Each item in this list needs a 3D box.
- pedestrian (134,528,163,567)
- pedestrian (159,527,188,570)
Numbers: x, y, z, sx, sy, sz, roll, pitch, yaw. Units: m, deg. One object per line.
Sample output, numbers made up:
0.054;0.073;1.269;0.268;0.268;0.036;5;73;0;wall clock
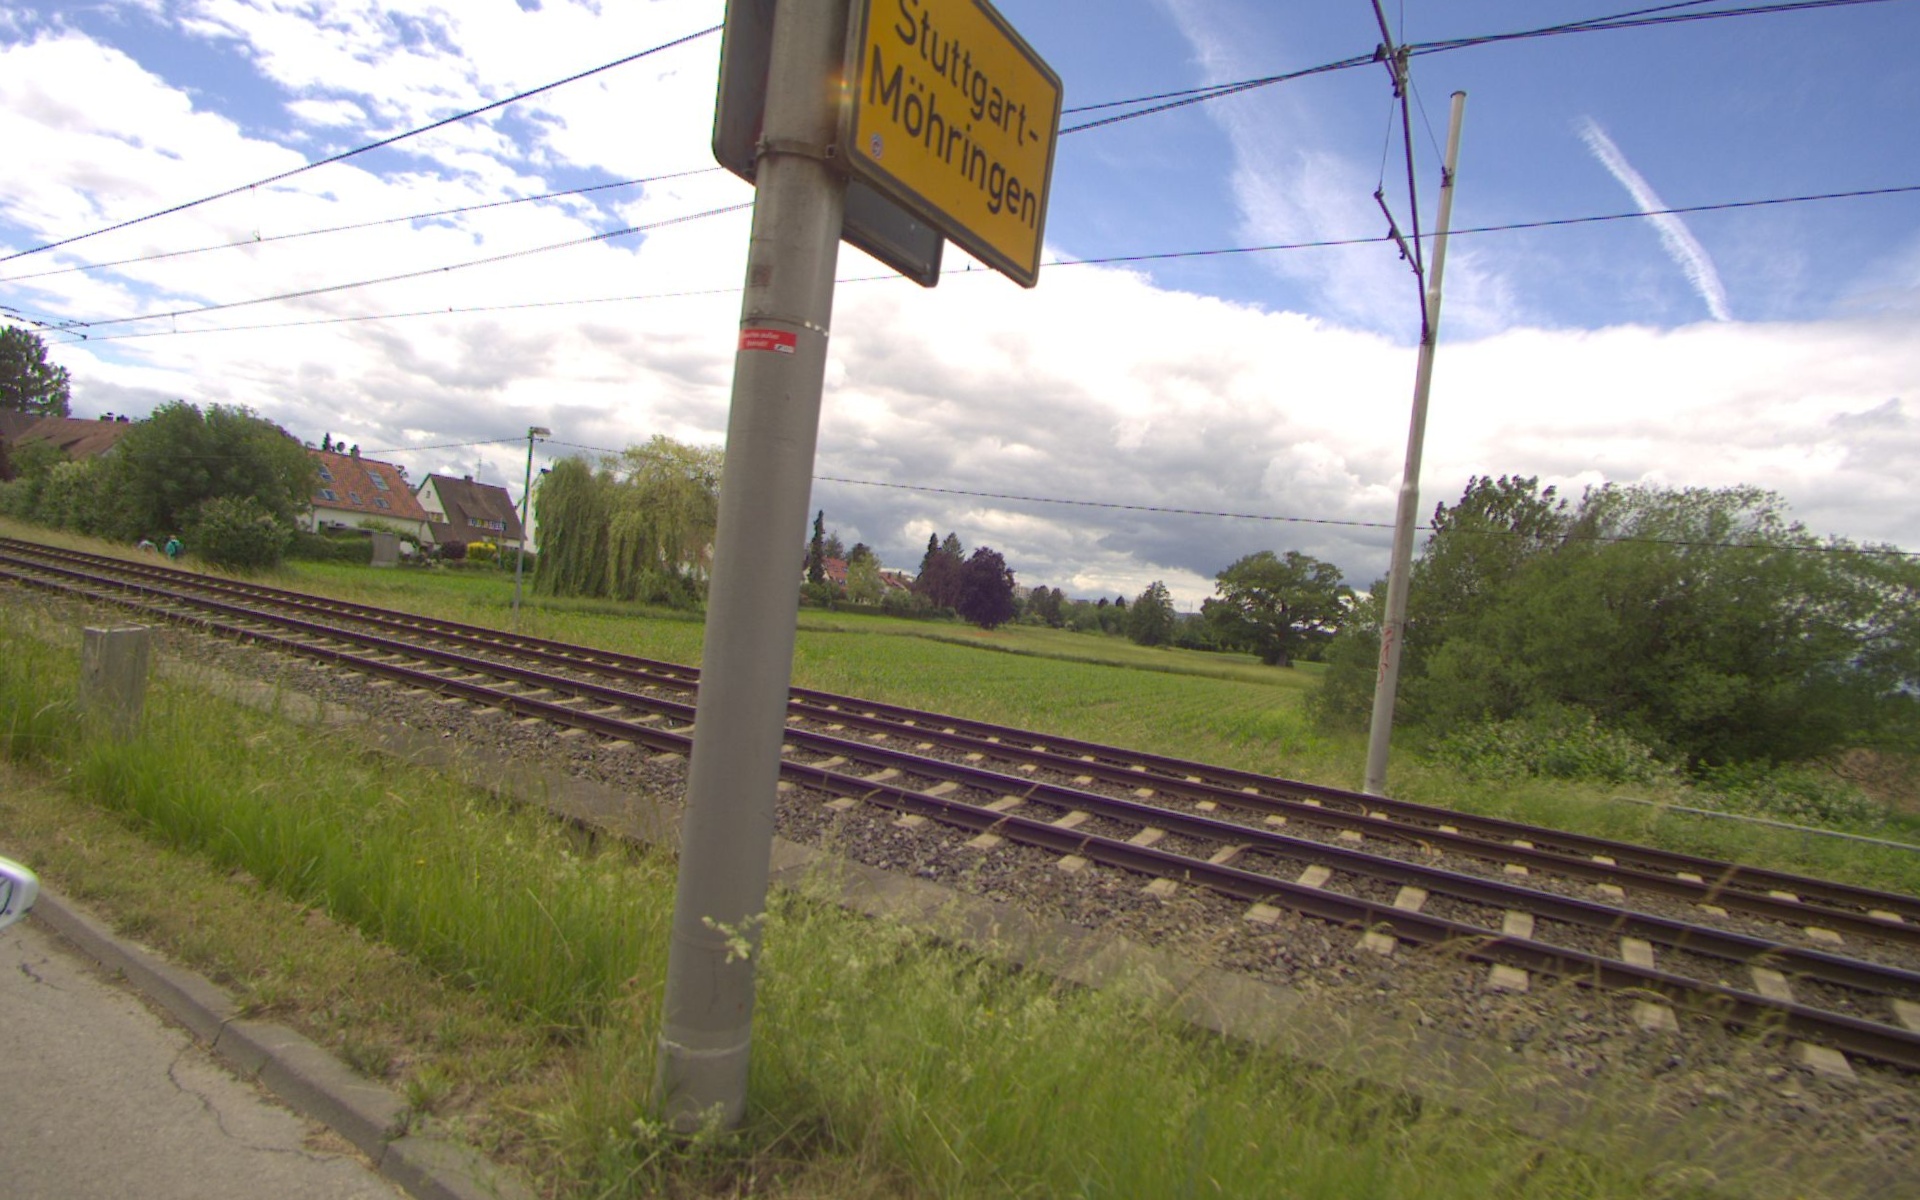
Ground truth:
-32.904;-2.133;40.780;0.655;1.447;0.599;7;-1;32;pedestrian
-32.449;-2.114;41.499;0.574;1.641;0.617;7;-1;32;pedestrian
